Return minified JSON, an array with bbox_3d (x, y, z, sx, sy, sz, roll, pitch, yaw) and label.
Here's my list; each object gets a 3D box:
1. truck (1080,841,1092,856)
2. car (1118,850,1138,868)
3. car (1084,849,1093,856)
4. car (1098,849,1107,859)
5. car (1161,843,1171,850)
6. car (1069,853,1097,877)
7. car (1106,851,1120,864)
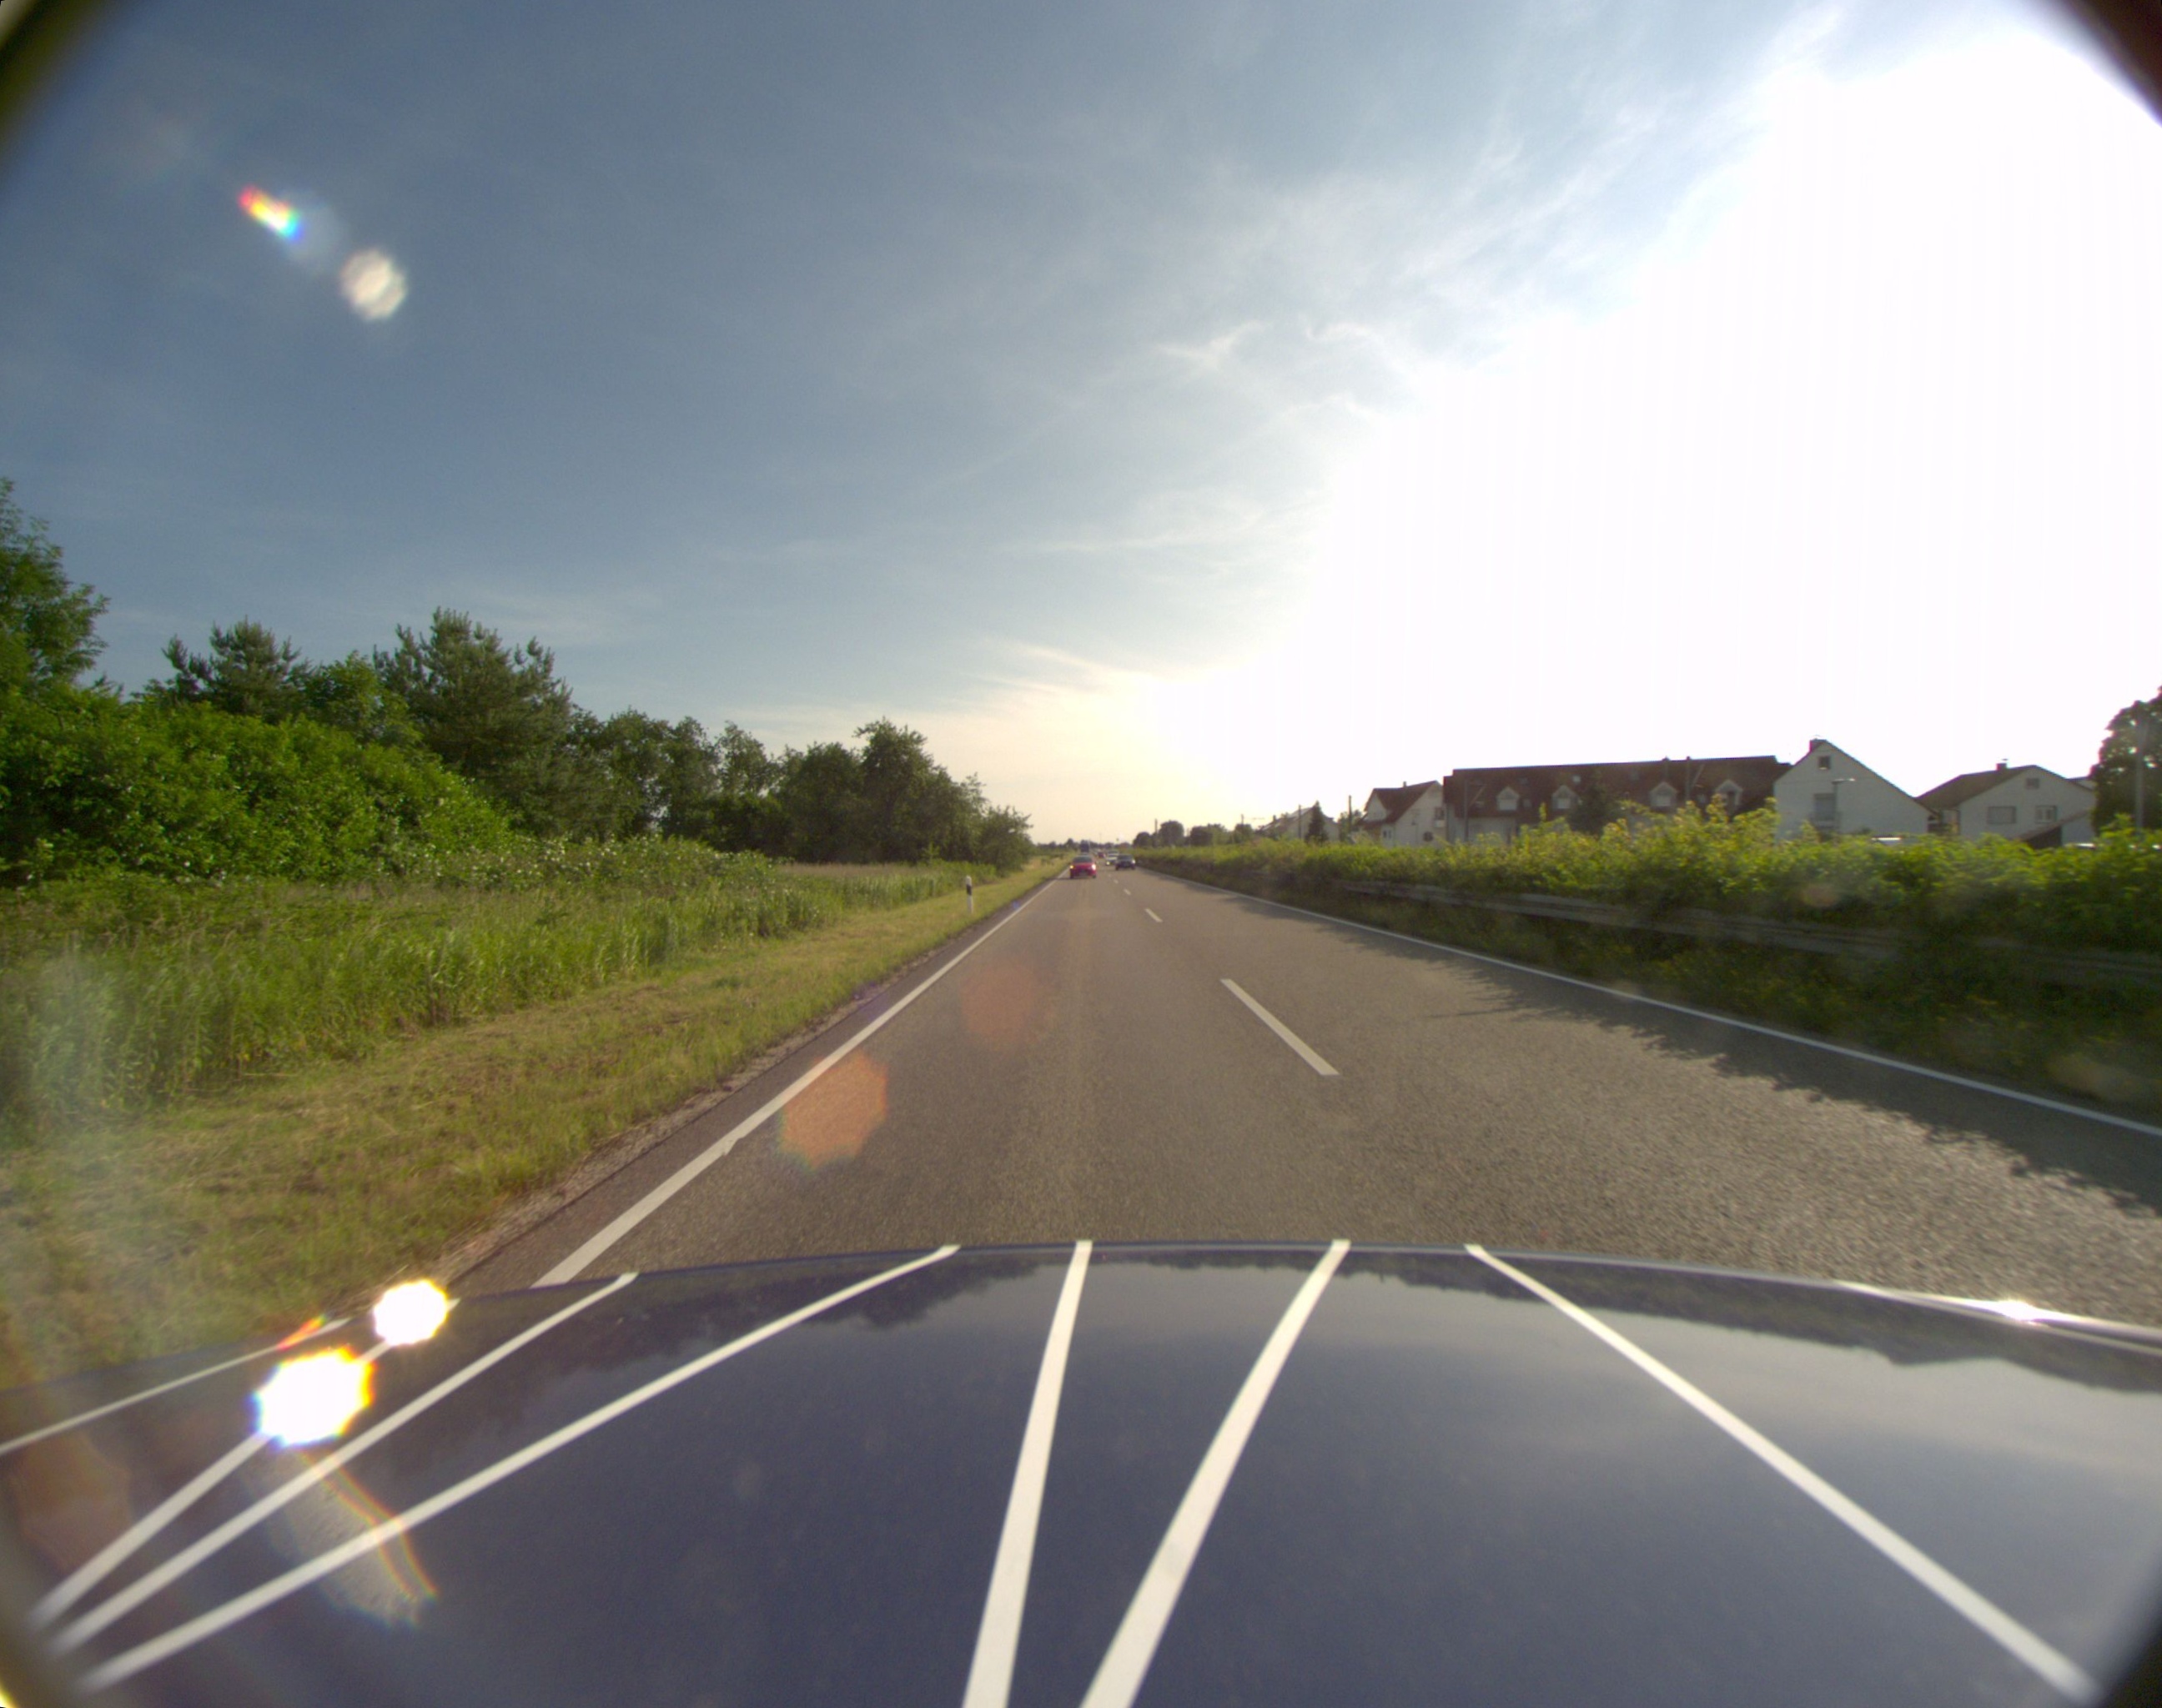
[{"bbox_3d":[1.425,-1.580,208.934,2.850,3.897,10.103,-2,1,1],"label":"truck"},{"bbox_3d":[4.250,0.430,69.167,1.636,1.500,4.000,-2,1,1],"label":"car"},{"bbox_3d":[1.587,-0.337,156.931,1.636,1.442,4.000,-2,1,1],"label":"car"},{"bbox_3d":[4.704,-0.060,166.925,1.998,2.002,4.000,-2,0,1],"label":"car"},{"bbox_3d":[20.937,-1.917,187.395,1.998,1.740,3.999,-2,1,0],"label":"car"},{"bbox_3d":[0.165,0.697,50.755,1.735,1.467,4.000,-2,1,1],"label":"car"},{"bbox_3d":[3.908,0.366,93.258,1.636,1.442,4.000,-2,1,1],"label":"car"}]
